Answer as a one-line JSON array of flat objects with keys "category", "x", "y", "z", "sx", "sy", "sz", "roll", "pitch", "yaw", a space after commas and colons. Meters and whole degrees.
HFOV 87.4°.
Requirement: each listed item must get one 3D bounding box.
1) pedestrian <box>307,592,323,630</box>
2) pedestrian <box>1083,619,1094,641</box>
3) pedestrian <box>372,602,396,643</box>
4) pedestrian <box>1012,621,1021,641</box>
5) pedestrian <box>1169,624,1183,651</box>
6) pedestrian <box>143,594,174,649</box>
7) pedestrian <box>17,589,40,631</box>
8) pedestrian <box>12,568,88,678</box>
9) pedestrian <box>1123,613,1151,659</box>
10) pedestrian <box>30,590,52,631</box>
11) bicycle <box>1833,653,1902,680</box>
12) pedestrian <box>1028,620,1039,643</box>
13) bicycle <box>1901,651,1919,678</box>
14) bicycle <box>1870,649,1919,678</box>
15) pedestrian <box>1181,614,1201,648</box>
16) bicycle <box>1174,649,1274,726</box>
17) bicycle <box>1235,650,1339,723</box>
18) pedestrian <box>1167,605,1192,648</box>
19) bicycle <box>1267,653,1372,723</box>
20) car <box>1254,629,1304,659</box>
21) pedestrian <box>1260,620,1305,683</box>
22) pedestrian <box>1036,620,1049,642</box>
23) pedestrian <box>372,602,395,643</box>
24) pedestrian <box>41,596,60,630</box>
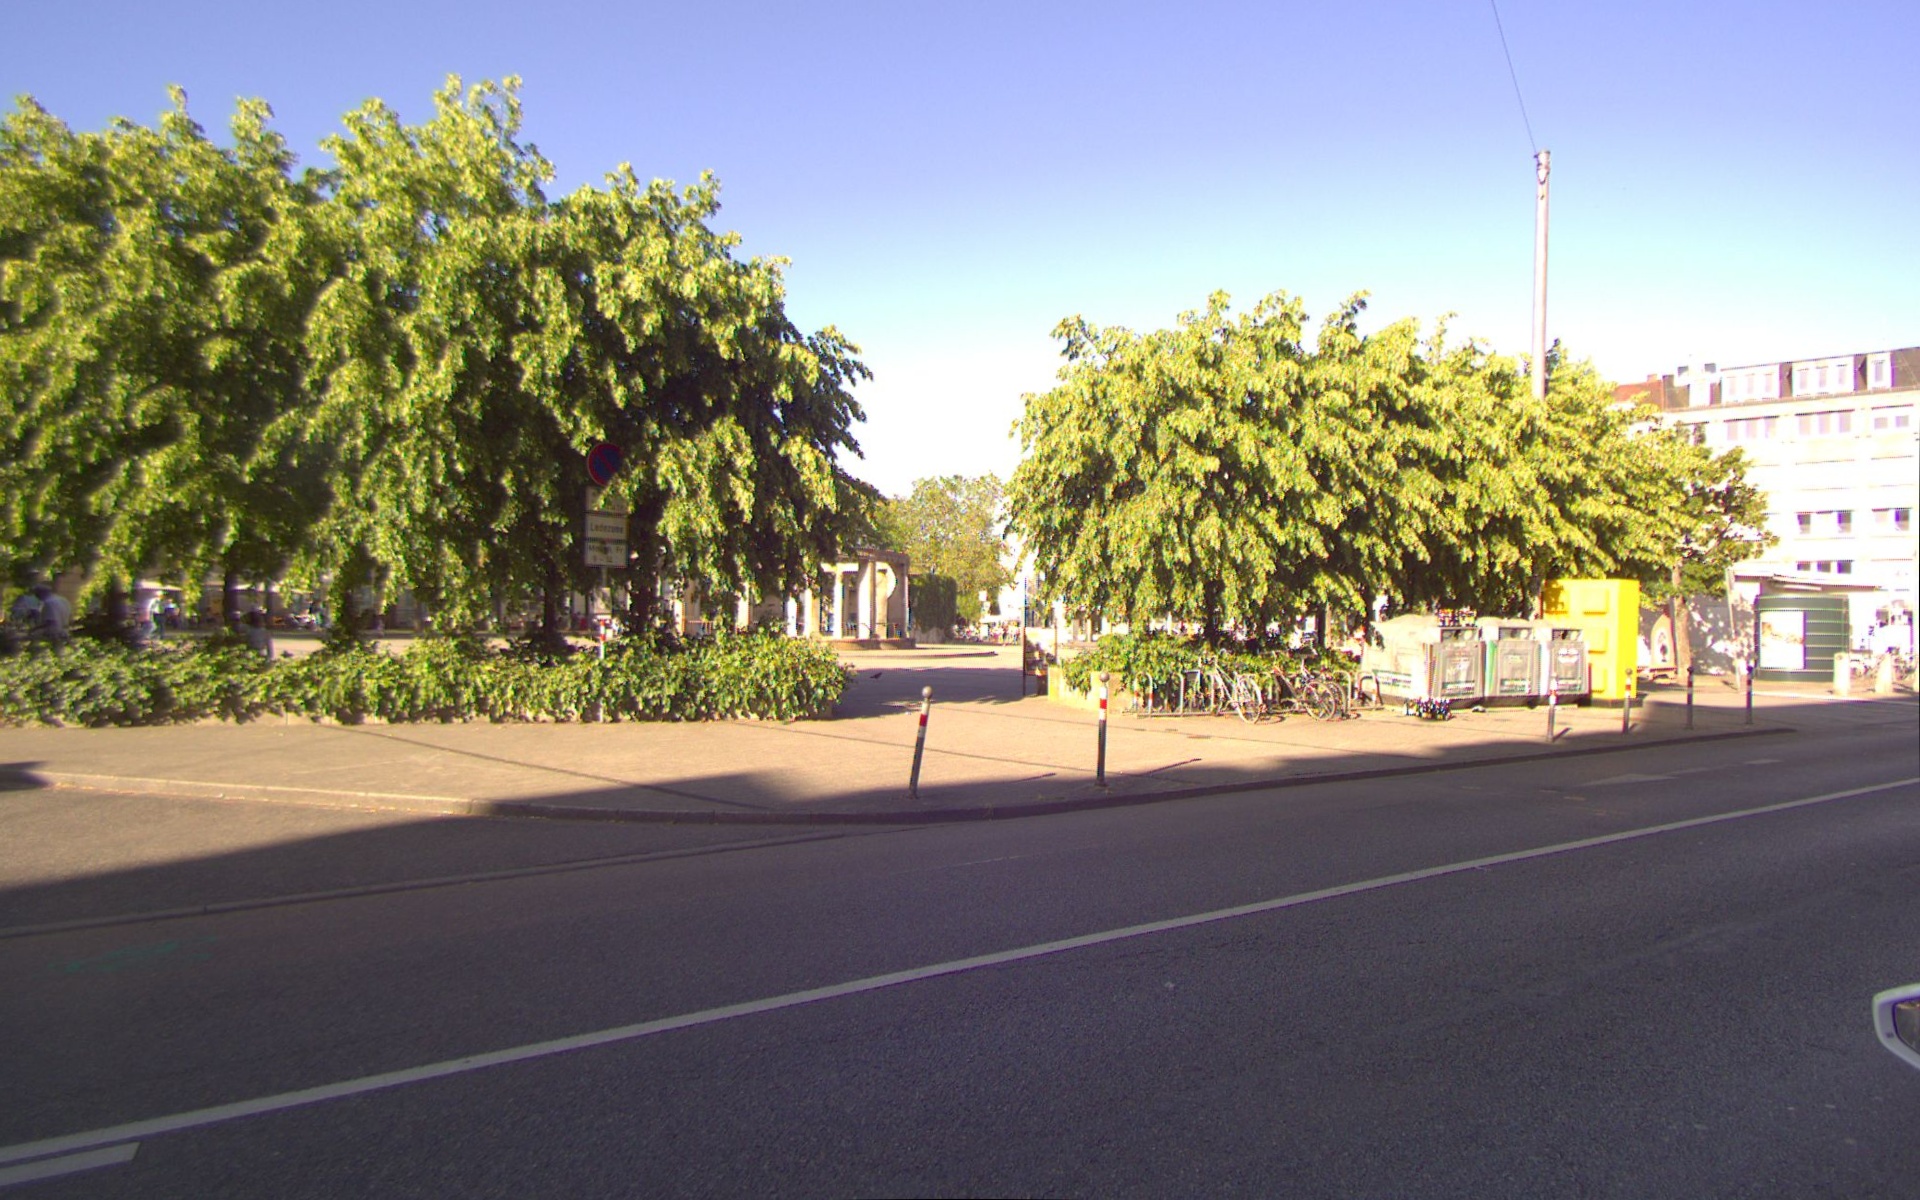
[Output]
[{"category": "pedestrian", "x": -34.188, "y": 0.598, "z": 53.250, "sx": 0.669, "sy": 1.974, "sz": 0.634, "roll": 2, "pitch": 0, "yaw": -33}, {"category": "pedestrian", "x": 12.748, "y": 2.968, "z": 99.631, "sx": 0.860, "sy": 2.199, "sz": 0.902, "roll": 2, "pitch": 0, "yaw": -5}, {"category": "pedestrian", "x": -24.959, "y": 0.972, "z": 43.541, "sx": 0.598, "sy": 1.744, "sz": 0.645, "roll": 2, "pitch": 0, "yaw": 32}, {"category": "pedestrian", "x": 5.253, "y": 2.883, "z": 93.804, "sx": 0.718, "sy": 1.862, "sz": 0.697, "roll": 2, "pitch": 0, "yaw": -5}, {"category": "pedestrian", "x": 14.223, "y": 2.443, "z": 66.168, "sx": 0.741, "sy": 1.740, "sz": 0.854, "roll": 1, "pitch": -1, "yaw": 4}, {"category": "pedestrian", "x": -25.753, "y": 0.689, "z": 32.269, "sx": 0.599, "sy": 1.744, "sz": 0.644, "roll": 2, "pitch": 0, "yaw": 41}, {"category": "pedestrian", "x": -39.437, "y": 0.425, "z": 42.517, "sx": 0.600, "sy": 1.744, "sz": 0.643, "roll": 2, "pitch": 0, "yaw": 45}, {"category": "pedestrian", "x": -14.205, "y": 0.356, "z": 15.697, "sx": 0.615, "sy": 1.671, "sz": 0.654, "roll": 2, "pitch": 0, "yaw": -16}, {"category": "pedestrian", "x": 8.017, "y": 1.610, "z": 45.521, "sx": 0.875, "sy": 2.040, "sz": 0.896, "roll": 1, "pitch": 0, "yaw": -17}, {"category": "pedestrian", "x": -40.138, "y": 0.449, "z": 43.884, "sx": 0.600, "sy": 1.744, "sz": 0.643, "roll": 2, "pitch": 0, "yaw": 45}, {"category": "bicycle", "x": 30.820, "y": 2.250, "z": 34.119, "sx": 0.600, "sy": 0.802, "sz": 1.634, "roll": 2, "pitch": 0, "yaw": -33}, {"category": "pedestrian", "x": 6.892, "y": 2.959, "z": 94.317, "sx": 0.860, "sy": 2.040, "sz": 0.902, "roll": 2, "pitch": 0, "yaw": -5}, {"category": "bicycle", "x": 35.077, "y": 2.336, "z": 35.995, "sx": 0.599, "sy": 0.946, "sz": 1.854, "roll": 2, "pitch": 0, "yaw": -30}, {"category": "bicycle", "x": 33.157, "y": 2.241, "z": 35.161, "sx": 0.599, "sy": 0.946, "sz": 1.855, "roll": 1, "pitch": -1, "yaw": -30}, {"category": "pedestrian", "x": 11.945, "y": 1.579, "z": 51.932, "sx": 0.774, "sy": 1.720, "sz": 0.763, "roll": 1, "pitch": 0, "yaw": -6}, {"category": "bicycle", "x": 4.070, "y": 1.331, "z": 15.647, "sx": 0.508, "sy": 1.029, "sz": 1.930, "roll": 2, "pitch": 0, "yaw": -19}, {"category": "bicycle", "x": 5.259, "y": 1.364, "z": 16.282, "sx": 0.508, "sy": 1.016, "sz": 1.923, "roll": 2, "pitch": 0, "yaw": -20}, {"category": "pedestrian", "x": 10.720, "y": 1.289, "z": 49.046, "sx": 0.875, "sy": 2.040, "sz": 0.896, "roll": 1, "pitch": 0, "yaw": -17}, {"category": "bicycle", "x": 5.825, "y": 1.407, "z": 16.408, "sx": 0.508, "sy": 0.968, "sz": 1.898, "roll": 2, "pitch": 0, "yaw": -20}, {"category": "car", "x": 16.408, "y": 2.255, "z": 51.778, "sx": 1.658, "sy": 1.405, "sz": 3.575, "roll": 1, "pitch": -1, "yaw": 5}, {"category": "pedestrian", "x": 10.845, "y": 1.709, "z": 33.799, "sx": 0.967, "sy": 2.040, "sz": 1.042, "roll": 2, "pitch": 0, "yaw": -42}, {"category": "pedestrian", "x": 7.876, "y": 2.973, "z": 95.608, "sx": 1.014, "sy": 2.040, "sz": 1.159, "roll": 2, "pitch": 0, "yaw": -5}, {"category": "pedestrian", "x": -24.898, "y": 0.973, "z": 43.352, "sx": 0.599, "sy": 1.744, "sz": 0.644, "roll": 2, "pitch": 0, "yaw": 37}, {"category": "pedestrian", "x": -48.522, "y": 0.697, "z": 53.569, "sx": 0.599, "sy": 1.744, "sz": 0.644, "roll": 2, "pitch": 0, "yaw": 39}]
